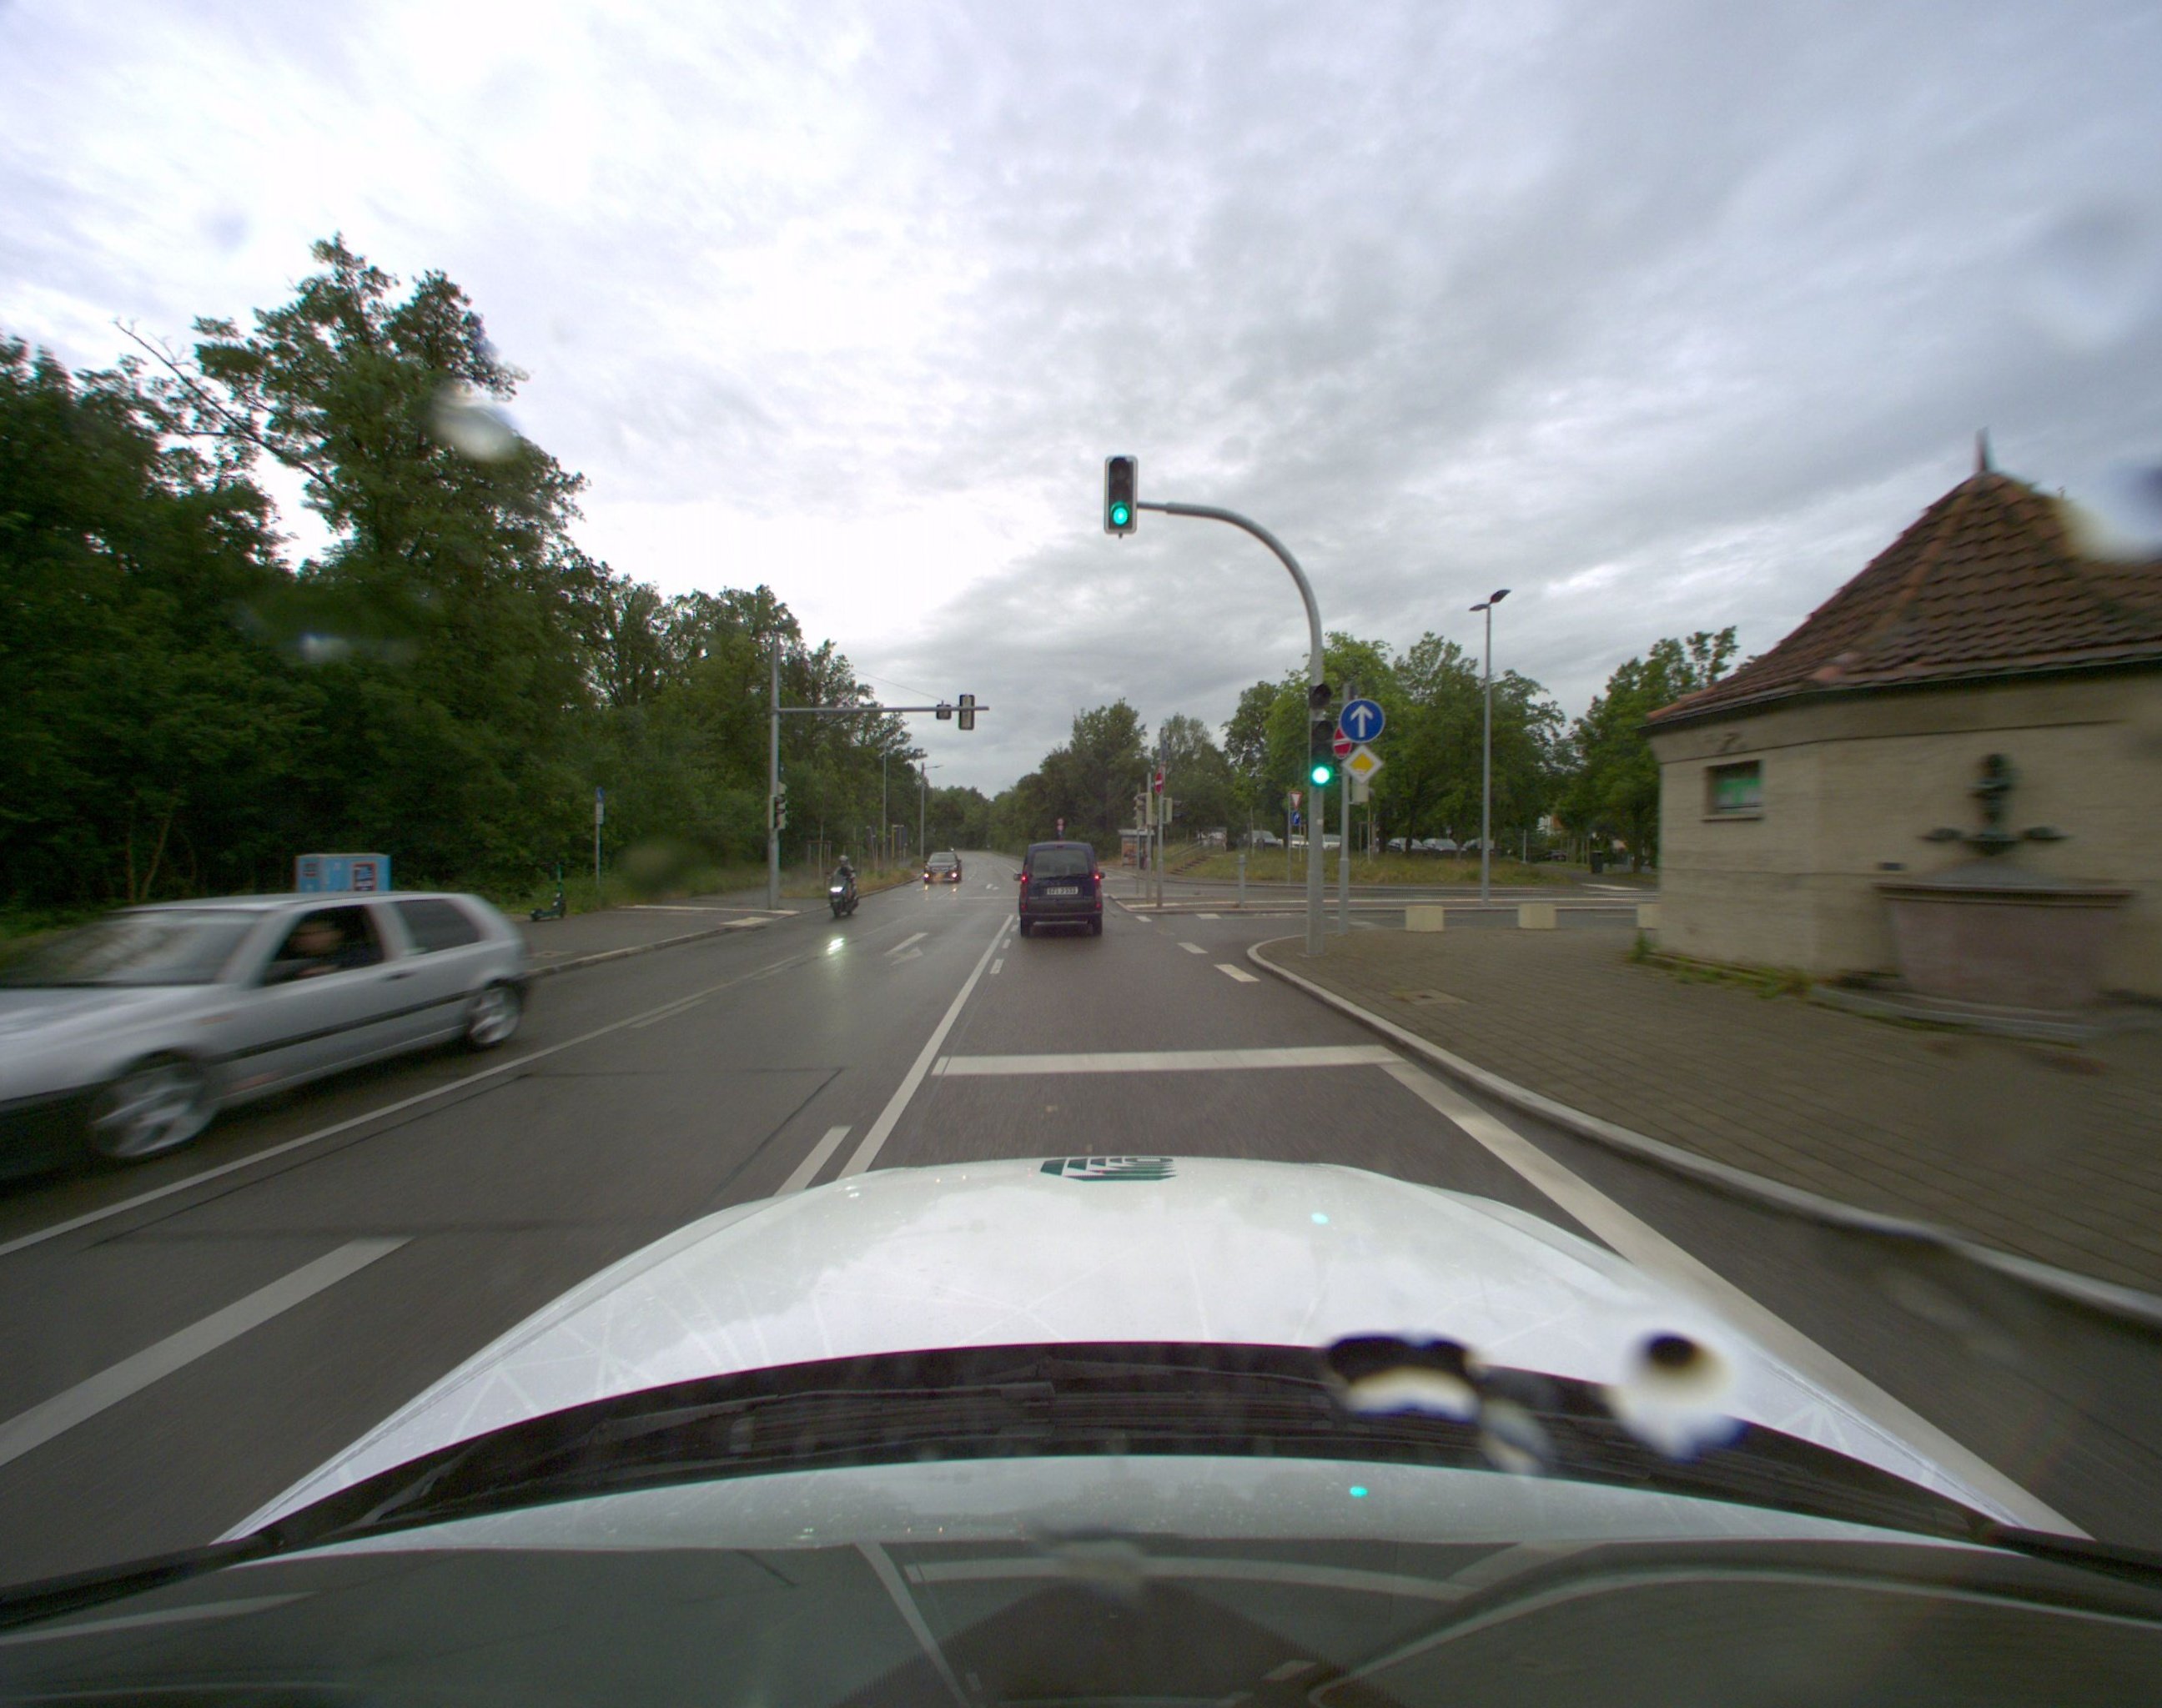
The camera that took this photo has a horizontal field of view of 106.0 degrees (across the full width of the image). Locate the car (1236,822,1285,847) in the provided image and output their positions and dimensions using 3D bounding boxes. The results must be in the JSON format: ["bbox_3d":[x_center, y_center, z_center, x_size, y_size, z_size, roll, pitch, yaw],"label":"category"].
[{"bbox_3d":[11.695,-1.232,53.434,1.990,1.480,4.278,2,0,-4],"label":"car"}]

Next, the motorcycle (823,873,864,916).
[{"bbox_3d":[-6.359,1.063,21.907,0.592,1.050,1.997,-1,0,-3],"label":"motorcycle"}]

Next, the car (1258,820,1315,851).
[{"bbox_3d":[12.001,-1.085,47.751,1.990,1.662,3.994,3,1,-5],"label":"car"}]

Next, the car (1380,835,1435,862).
[{"bbox_3d":[21.757,-0.389,54.427,1.987,1.662,3.999,3,1,0],"label":"car"}]

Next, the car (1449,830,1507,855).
[{"bbox_3d":[26.746,-0.751,54.977,1.880,1.480,4.067,2,0,-1],"label":"car"}]

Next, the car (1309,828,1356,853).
[{"bbox_3d":[16.659,-0.886,54.176,1.879,1.480,4.069,2,0,1],"label":"car"}]

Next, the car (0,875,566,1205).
[{"bbox_3d":[-5.773,0.903,5.656,1.736,1.352,4.207,-1,0,-1],"label":"car"}]

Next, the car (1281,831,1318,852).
[{"bbox_3d":[17.358,-0.958,64.772,1.879,1.480,4.069,2,0,1],"label":"car"}]

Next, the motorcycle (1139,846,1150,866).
[{"bbox_3d":[4.139,0.099,53.386,0.585,1.289,1.542,0,0,9],"label":"motorcycle"}]

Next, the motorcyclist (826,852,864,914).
[{"bbox_3d":[-6.373,0.767,22.039,0.743,1.632,0.927,-1,0,-1],"label":"motorcyclist"}]

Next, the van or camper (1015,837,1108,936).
[{"bbox_3d":[-0.463,0.599,17.157,1.709,1.826,3.995,1,0,-3],"label":"van or camper"}]

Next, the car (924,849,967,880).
[{"bbox_3d":[-7.210,0.509,43.716,1.785,1.581,4.555,-1,0,-4],"label":"car"}]

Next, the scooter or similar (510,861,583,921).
[{"bbox_3d":[-11.446,0.763,17.491,0.515,1.212,1.470,1,0,3],"label":"scooter or similar"}]

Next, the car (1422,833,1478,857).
[{"bbox_3d":[24.237,-0.549,53.678,1.879,1.480,4.069,-1,0,0],"label":"car"}]

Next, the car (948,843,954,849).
[{"bbox_3d":[-35.812,-2.204,224.220,1.598,1.441,3.978,-2,1,-9],"label":"car"}]
